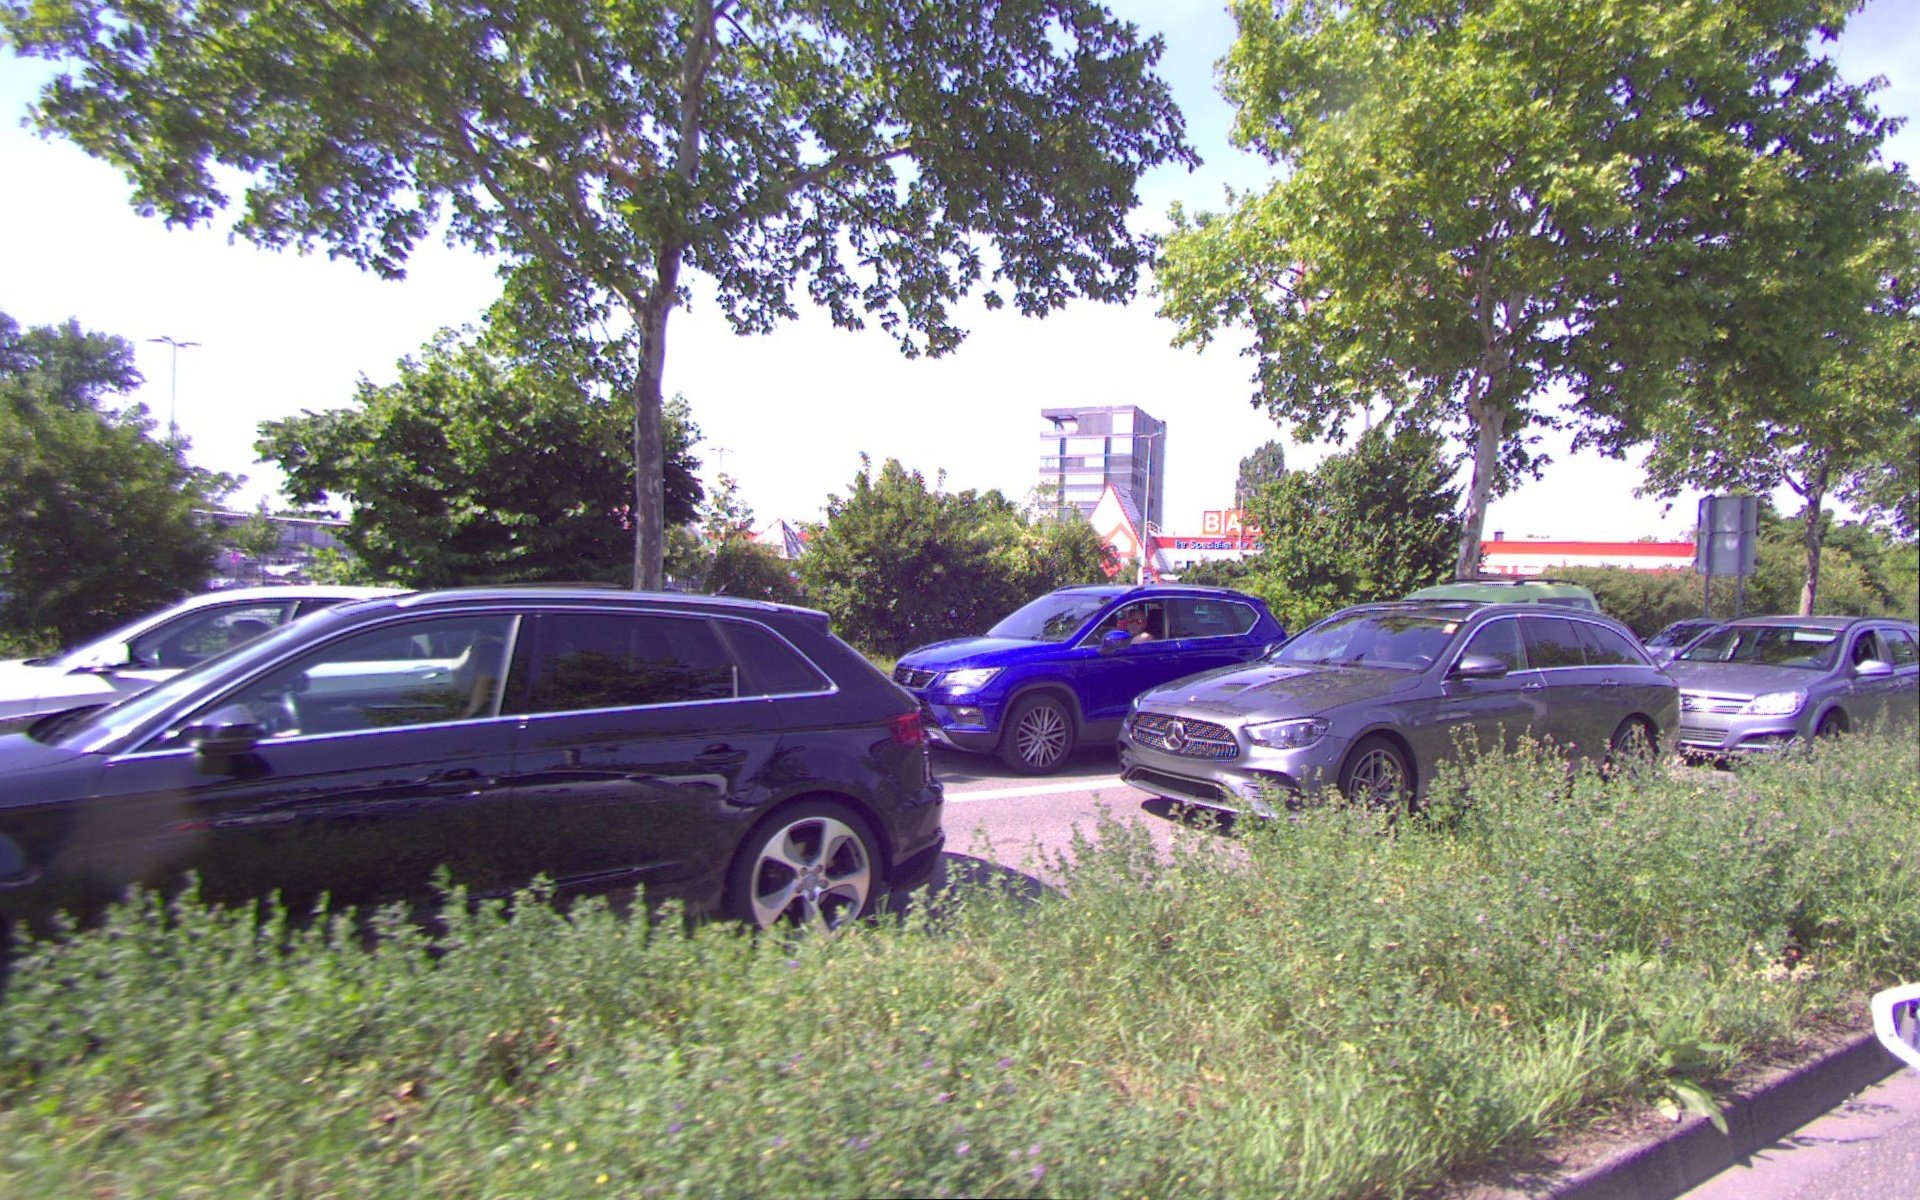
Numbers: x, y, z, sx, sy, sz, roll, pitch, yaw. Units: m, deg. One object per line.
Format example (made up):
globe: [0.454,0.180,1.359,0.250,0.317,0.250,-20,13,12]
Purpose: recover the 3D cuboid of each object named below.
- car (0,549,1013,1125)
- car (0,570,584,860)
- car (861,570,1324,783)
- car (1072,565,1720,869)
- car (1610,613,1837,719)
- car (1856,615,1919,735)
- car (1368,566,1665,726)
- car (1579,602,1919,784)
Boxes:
car: [-2.121,0.620,3.867,4.400,1.485,1.814,1,0,-32]
car: [-4.755,0.588,6.144,4.377,1.471,1.723,1,0,-30]
car: [1.351,0.621,9.606,4.260,1.653,1.681,1,0,-30]
car: [3.376,0.666,7.437,4.949,1.629,1.838,1,0,-30]
car: [12.661,1.024,16.619,3.770,1.550,1.681,1,0,-30]
car: [14.043,0.989,13.449,4.419,1.478,1.775,1,0,-30]
car: [7.531,0.587,13.518,3.989,1.883,1.681,2,0,-30]
car: [8.752,0.846,10.618,4.586,1.550,1.804,1,0,-30]
